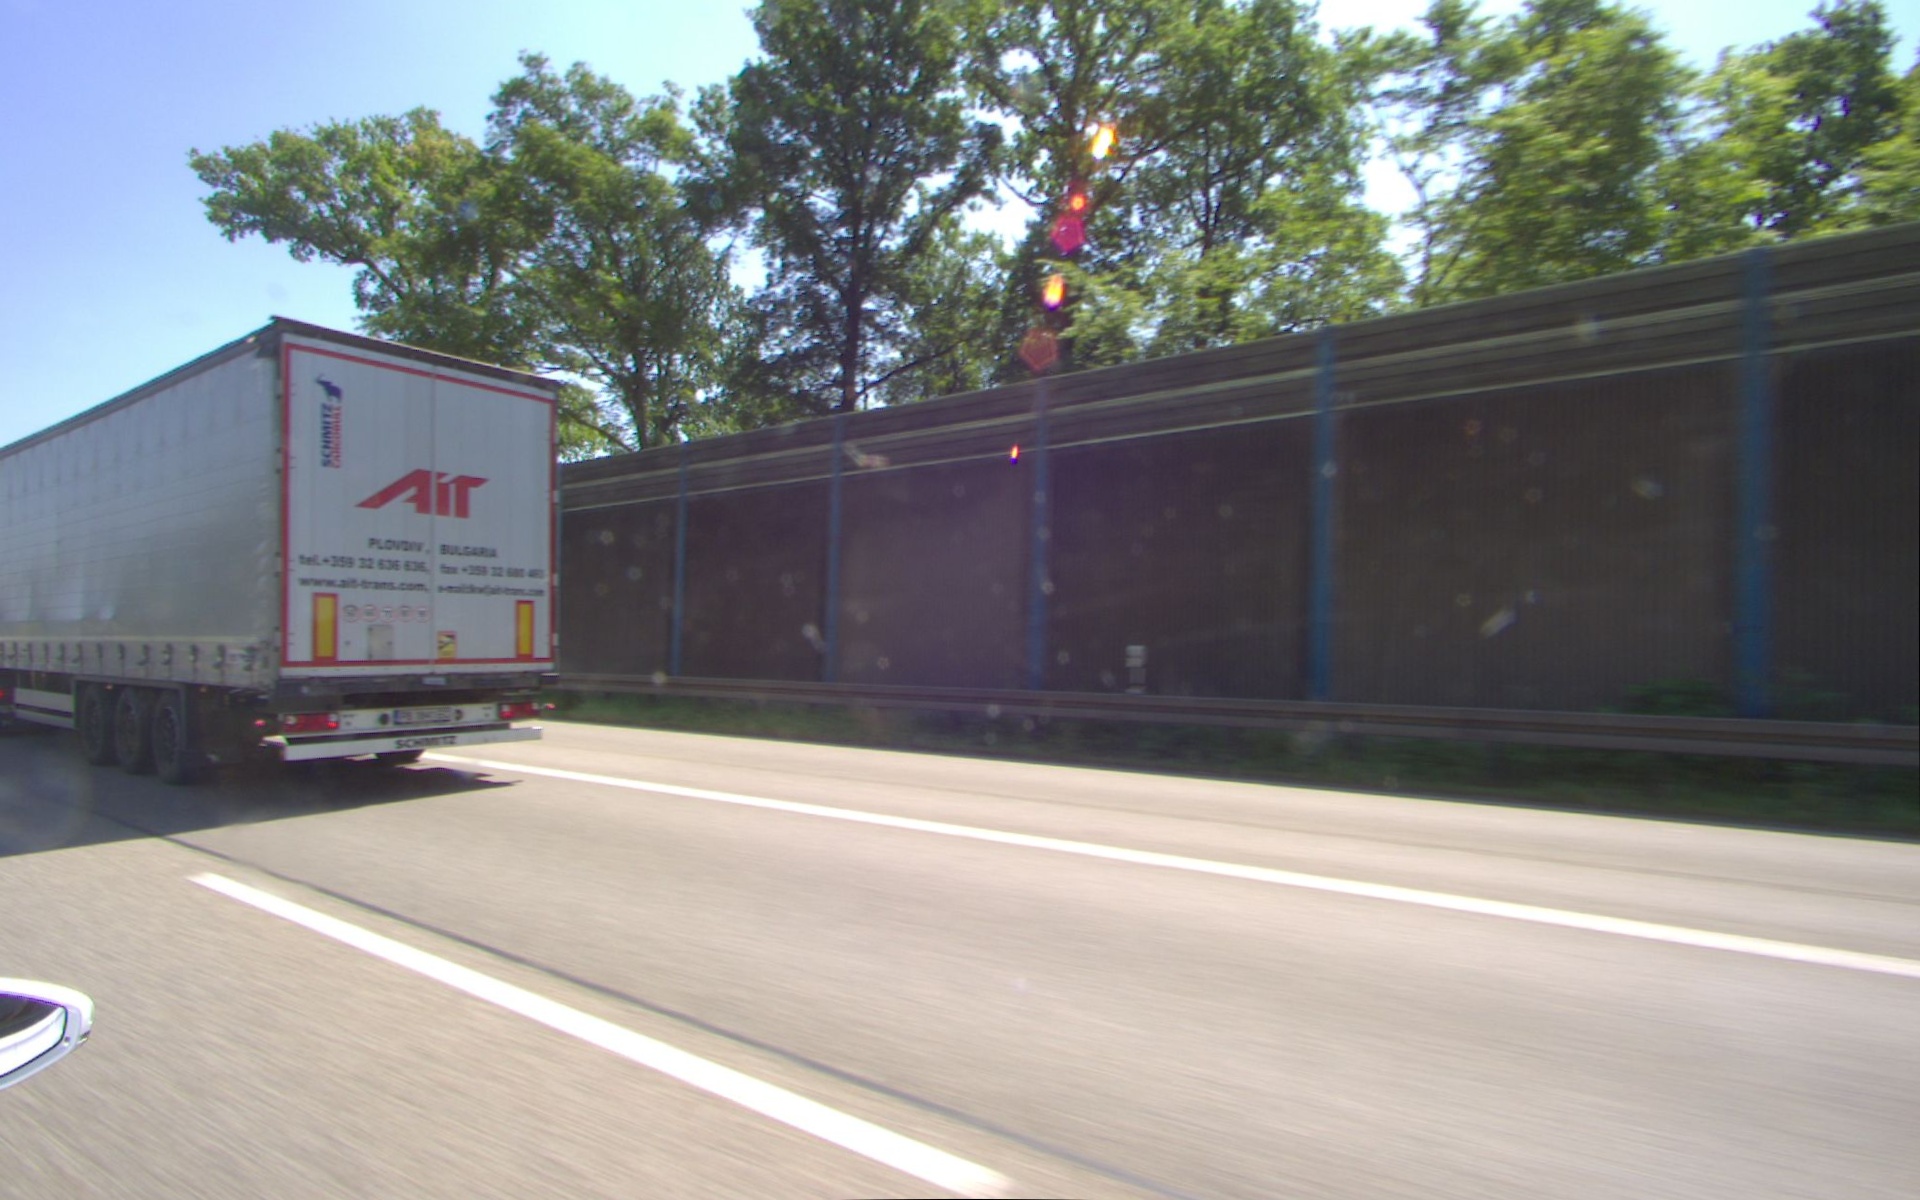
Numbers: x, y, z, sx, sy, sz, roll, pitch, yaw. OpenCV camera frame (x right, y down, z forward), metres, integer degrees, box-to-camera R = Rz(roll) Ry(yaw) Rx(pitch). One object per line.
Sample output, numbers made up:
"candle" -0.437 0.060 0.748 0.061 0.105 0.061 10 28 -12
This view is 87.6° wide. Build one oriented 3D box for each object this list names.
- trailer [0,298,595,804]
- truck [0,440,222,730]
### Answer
"trailer" -10.130 -0.211 13.282 13.615 4.090 2.877 -2 -2 36
"truck" -15.569 -0.121 17.317 5.908 4.199 2.877 -1 -2 36
